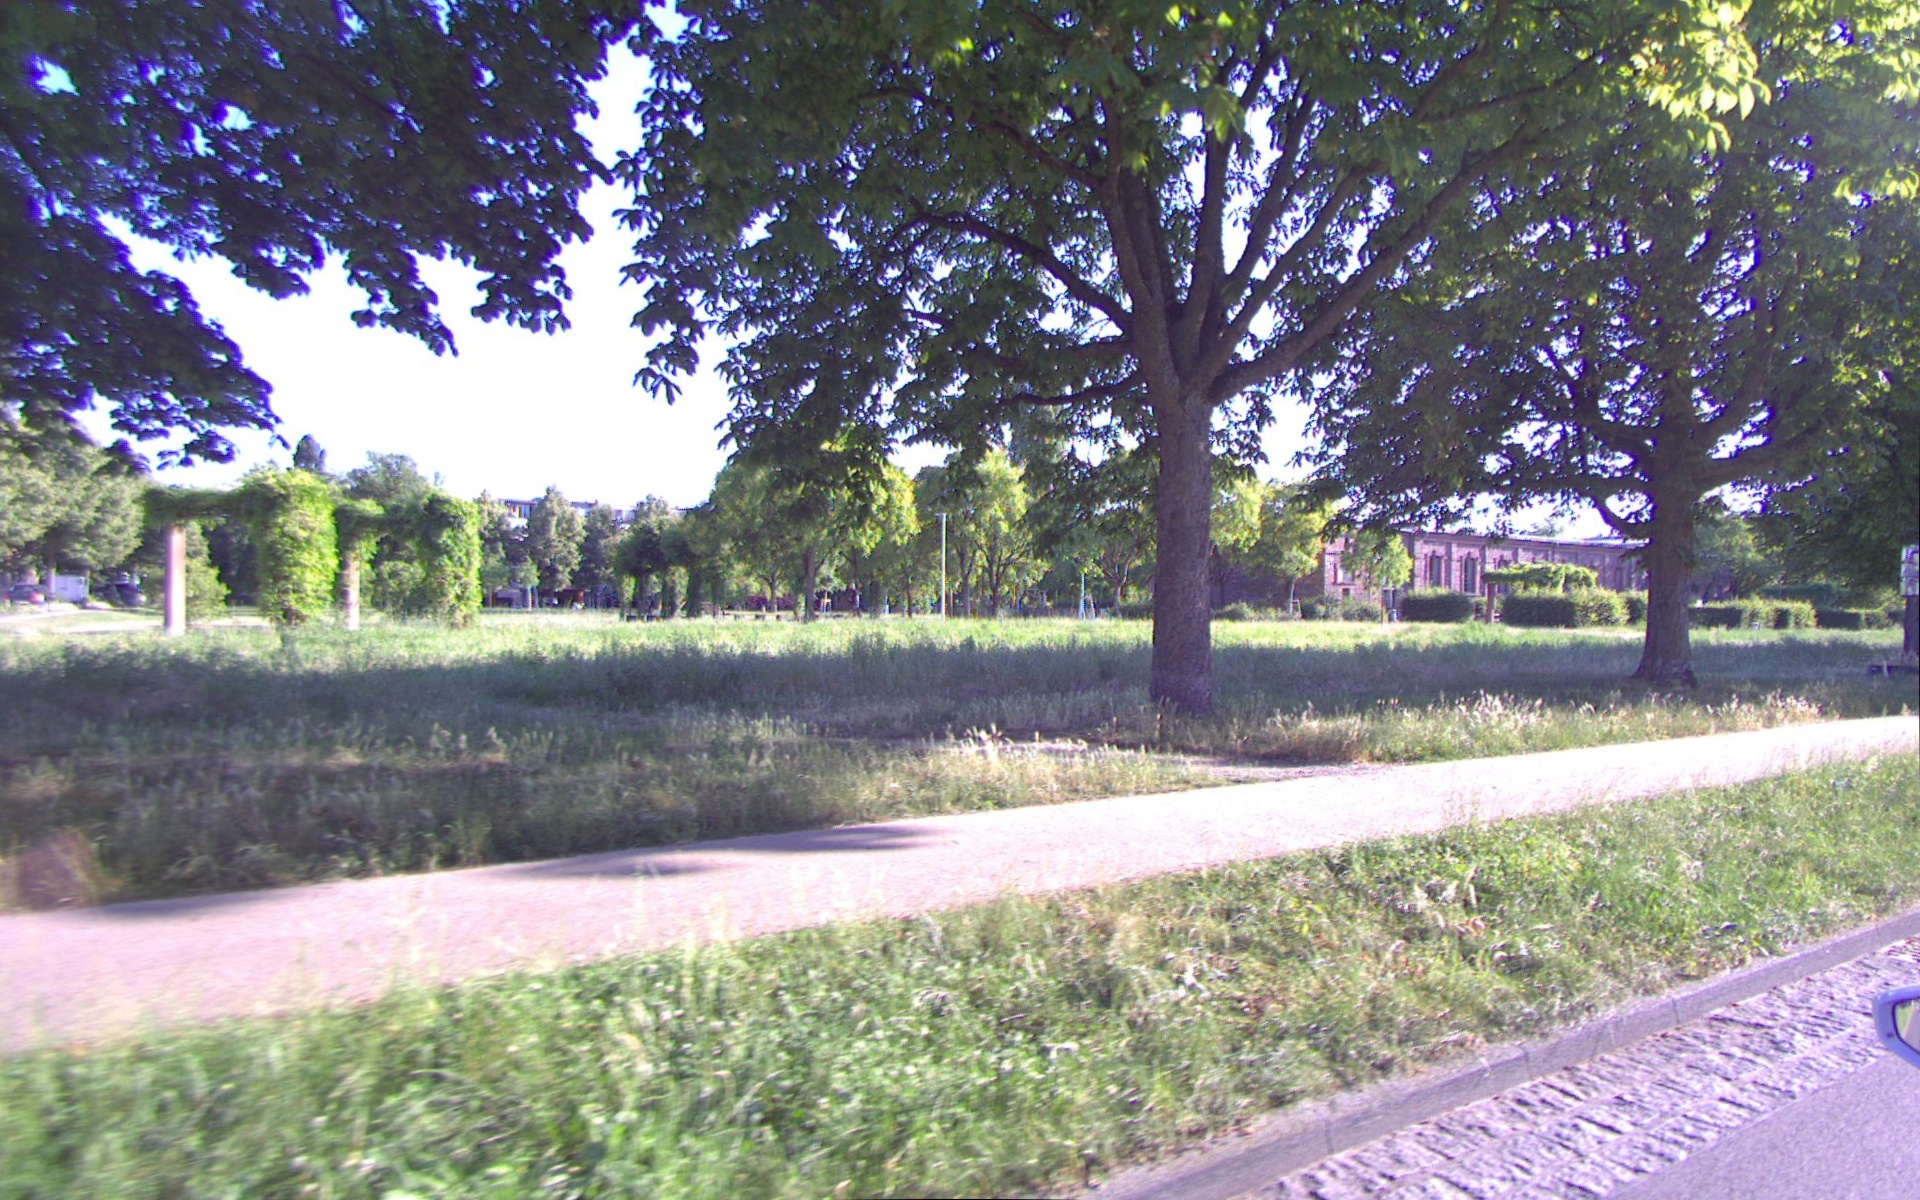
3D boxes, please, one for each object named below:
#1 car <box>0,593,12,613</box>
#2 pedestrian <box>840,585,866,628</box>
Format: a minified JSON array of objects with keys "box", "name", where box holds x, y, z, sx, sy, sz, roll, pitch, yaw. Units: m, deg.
[{"box":[-66.979,0.202,69.259,1.569,1.297,3.608,1,0,-32],"name":"car"},{"box":[-4.442,0.276,41.753,0.764,1.747,0.714,2,0,32],"name":"pedestrian"}]
